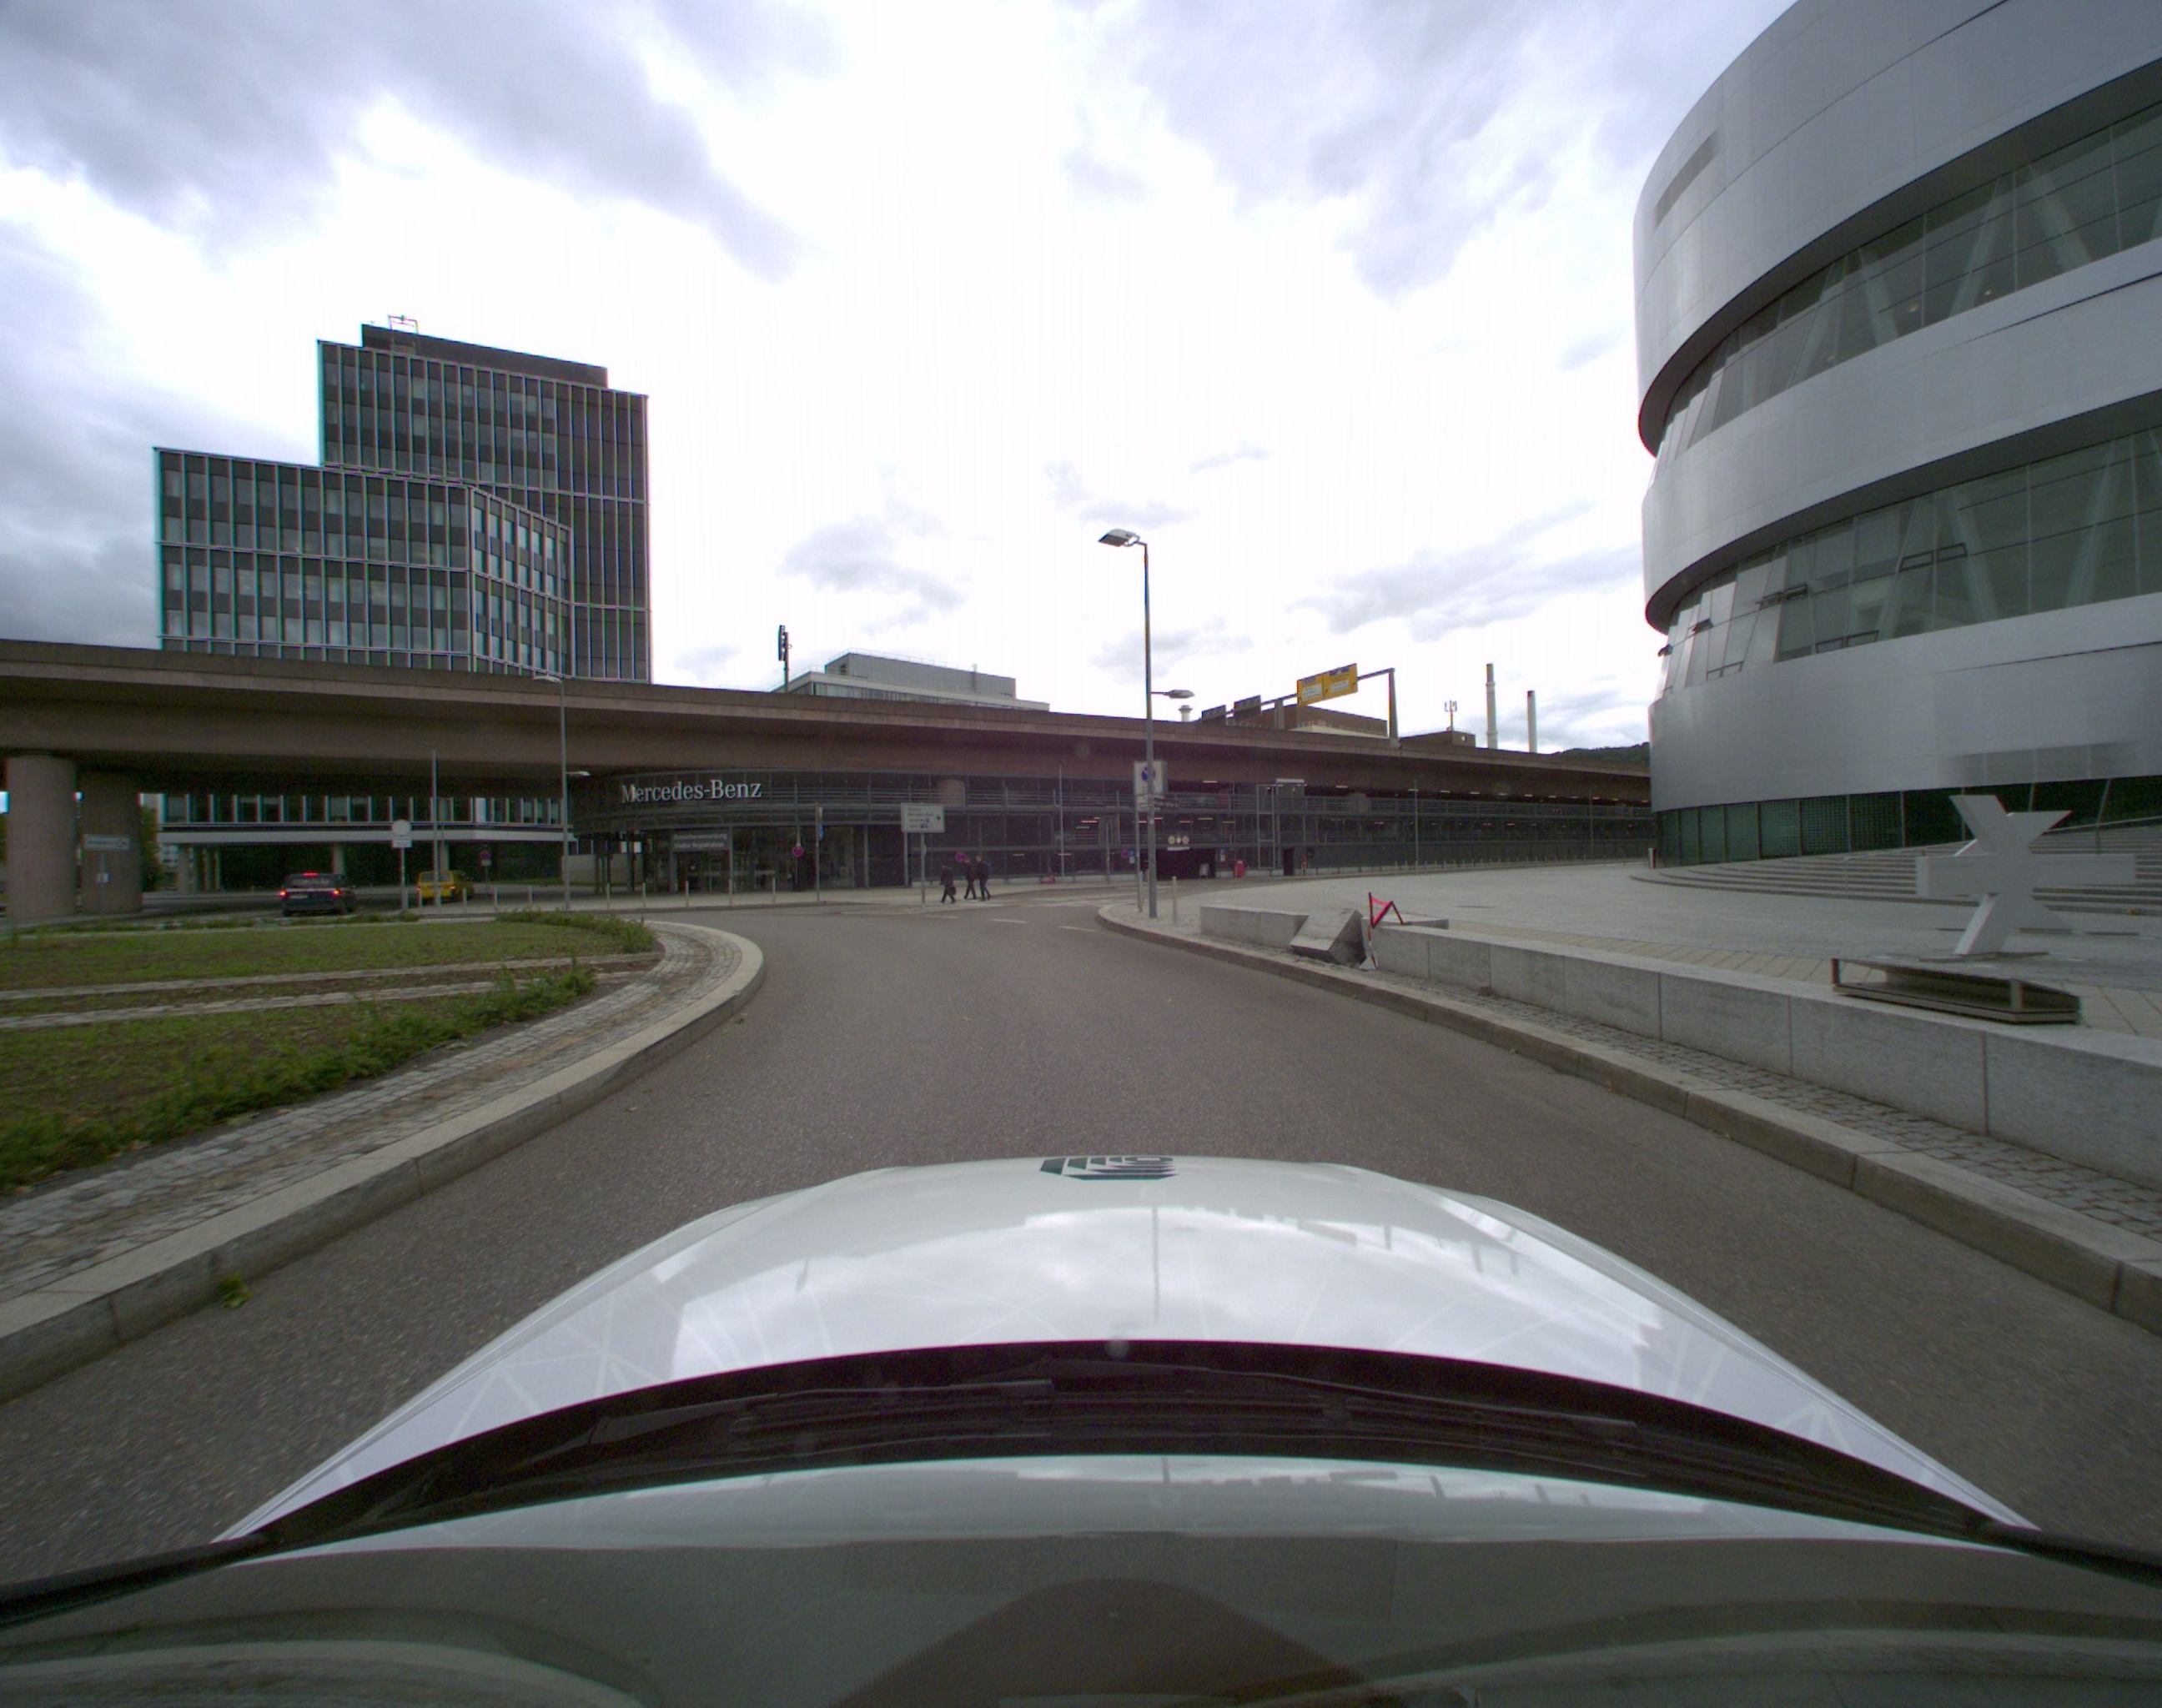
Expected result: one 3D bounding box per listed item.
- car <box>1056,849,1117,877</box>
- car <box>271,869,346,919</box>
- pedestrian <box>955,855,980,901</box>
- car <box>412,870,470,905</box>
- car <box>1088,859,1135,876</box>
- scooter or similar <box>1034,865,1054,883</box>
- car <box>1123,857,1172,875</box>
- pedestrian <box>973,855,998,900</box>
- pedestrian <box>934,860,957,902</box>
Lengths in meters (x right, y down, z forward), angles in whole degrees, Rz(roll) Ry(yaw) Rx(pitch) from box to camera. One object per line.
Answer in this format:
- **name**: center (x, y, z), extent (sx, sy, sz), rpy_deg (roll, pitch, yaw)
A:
- **car**: center (0.409, 0.647, 59.119), extent (4.010, 1.904, 1.982), rpy_deg (-1, -1, -28)
- **car**: center (-34.427, 1.747, 36.288), extent (2.296, 2.014, 4.724), rpy_deg (0, -2, -44)
- **pedestrian**: center (-4.376, 0.911, 31.445), extent (0.833, 1.741, 0.686), rpy_deg (-1, -2, -17)
- **car**: center (-38.531, 1.984, 49.119), extent (2.004, 2.014, 3.964), rpy_deg (0, -1, -27)
- **car**: center (2.928, 1.284, 77.667), extent (4.010, 1.574, 1.982), rpy_deg (-1, -1, -28)
- **scooter or similar**: center (-2.452, 1.307, 54.086), extent (1.238, 1.194, 0.352), rpy_deg (0, -2, -30)
- **car**: center (6.071, 1.113, 74.269), extent (4.061, 1.574, 1.982), rpy_deg (-1, -1, -28)
- **pedestrian**: center (-3.800, 0.939, 32.347), extent (0.834, 1.741, 0.685), rpy_deg (-1, -2, -21)
- **pedestrian**: center (-5.169, 1.032, 30.967), extent (0.831, 1.570, 0.688), rpy_deg (-1, -2, -11)
